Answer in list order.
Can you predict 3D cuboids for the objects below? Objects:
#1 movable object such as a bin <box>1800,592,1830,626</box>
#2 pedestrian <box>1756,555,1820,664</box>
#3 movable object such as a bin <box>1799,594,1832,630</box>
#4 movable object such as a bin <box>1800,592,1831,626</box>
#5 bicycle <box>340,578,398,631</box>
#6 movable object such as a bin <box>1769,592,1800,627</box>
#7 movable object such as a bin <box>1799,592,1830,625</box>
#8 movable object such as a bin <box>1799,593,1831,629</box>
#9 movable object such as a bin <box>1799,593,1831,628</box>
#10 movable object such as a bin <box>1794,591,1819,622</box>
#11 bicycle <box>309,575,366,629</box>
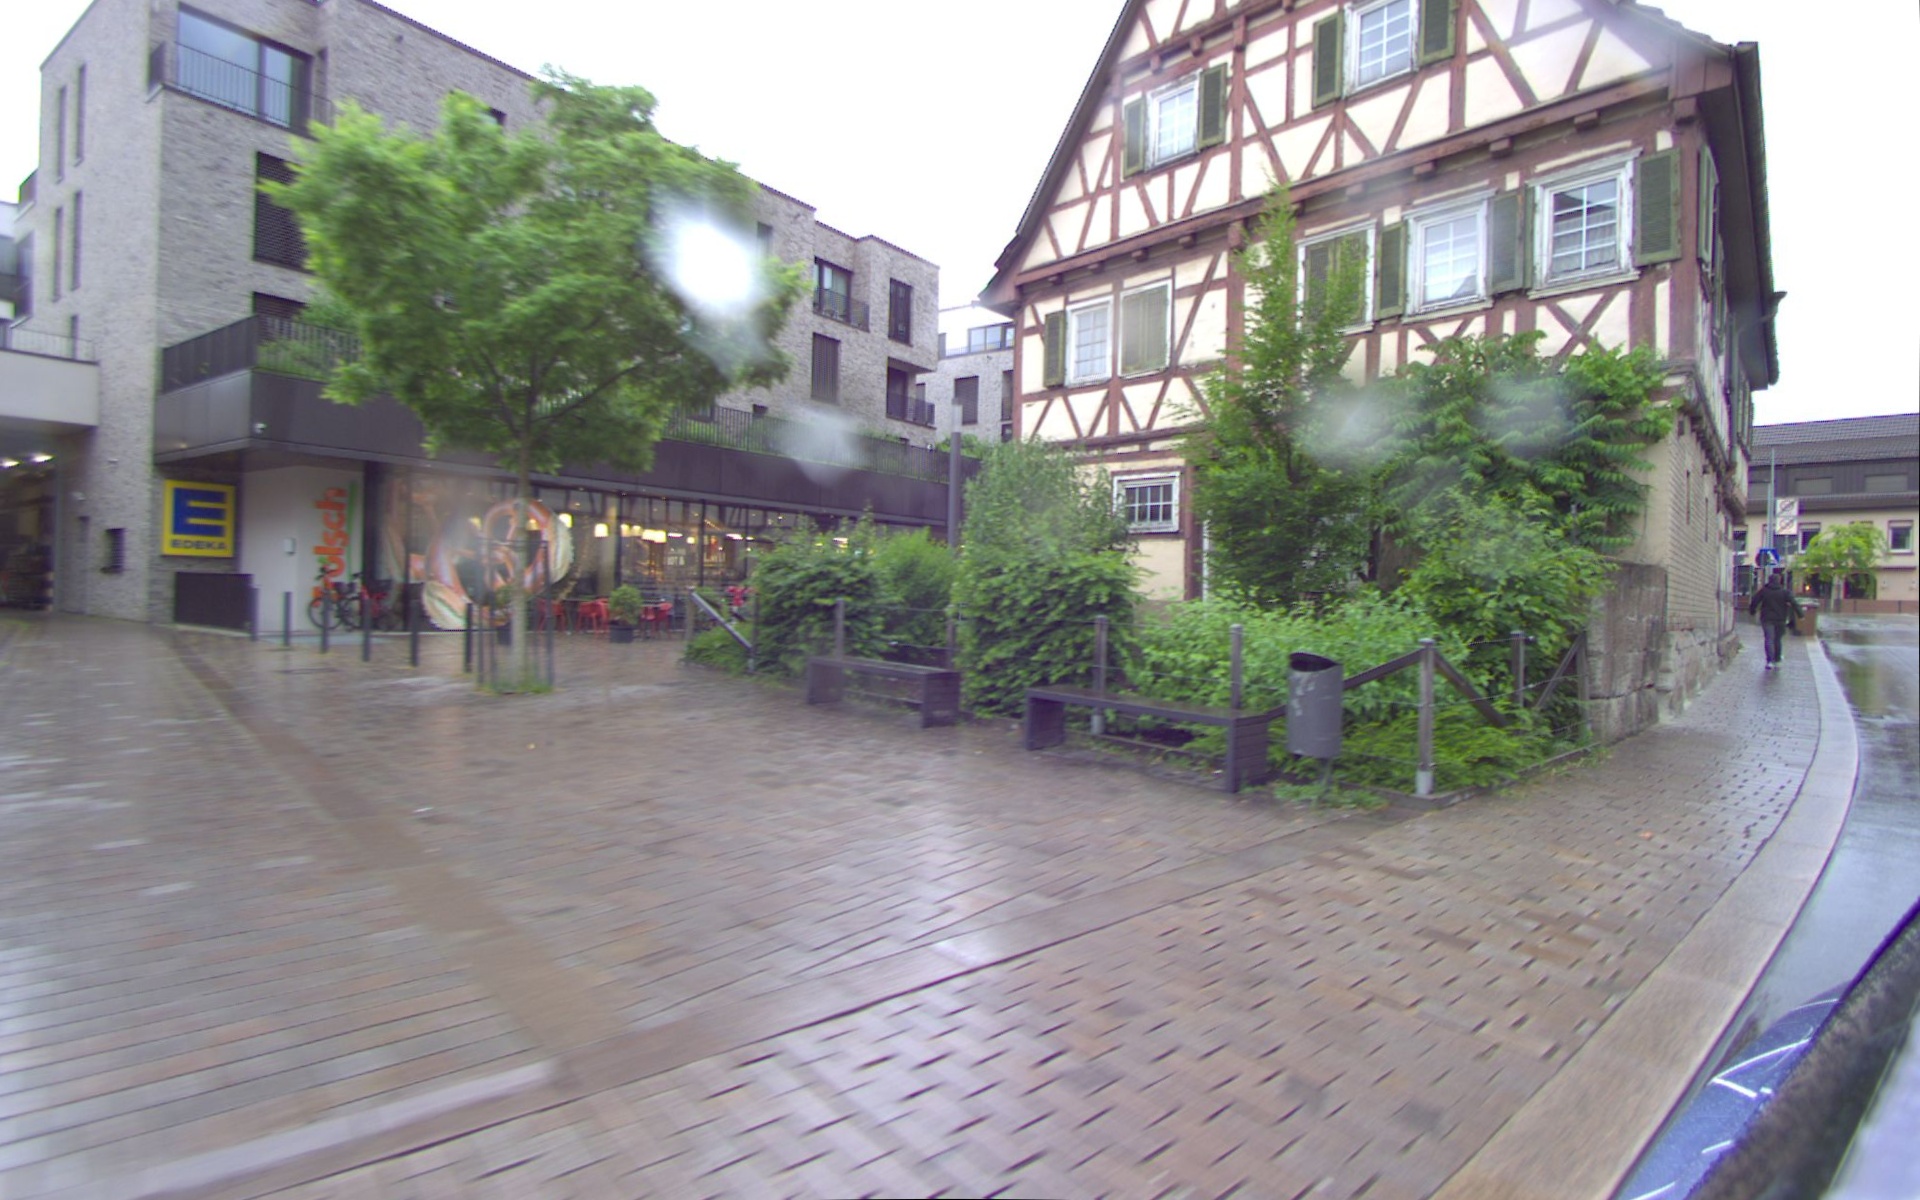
[{"bbox_3d":[29.678,0.310,35.128,0.765,1.109,0.573,3,2,40],"label":"movable object such as a bin"},{"bbox_3d":[15.217,0.158,18.625,0.809,1.908,0.895,4,2,38],"label":"pedestrian"},{"bbox_3d":[27.640,0.376,32.706,0.765,1.109,0.573,3,2,40],"label":"movable object such as a bin"},{"bbox_3d":[29.291,0.312,34.669,0.765,1.109,0.573,3,2,40],"label":"movable object such as a bin"},{"bbox_3d":[-12.002,0.074,20.535,1.699,0.981,0.442,4,3,40],"label":"bicycle"},{"bbox_3d":[27.403,0.309,33.635,0.765,1.109,0.618,3,2,40],"label":"movable object such as a bin"},{"bbox_3d":[30.046,0.296,35.593,0.765,1.109,0.573,3,2,40],"label":"movable object such as a bin"},{"bbox_3d":[28.139,0.353,33.311,0.765,1.109,0.573,3,2,40],"label":"movable object such as a bin"},{"bbox_3d":[28.511,0.340,33.763,0.765,1.109,0.573,3,2,40],"label":"movable object such as a bin"},{"bbox_3d":[31.415,0.233,37.548,0.662,1.109,0.543,3,2,39],"label":"movable object such as a bin"},{"bbox_3d":[-12.382,0.024,20.100,1.699,0.981,0.442,4,3,40],"label":"bicycle"}]
